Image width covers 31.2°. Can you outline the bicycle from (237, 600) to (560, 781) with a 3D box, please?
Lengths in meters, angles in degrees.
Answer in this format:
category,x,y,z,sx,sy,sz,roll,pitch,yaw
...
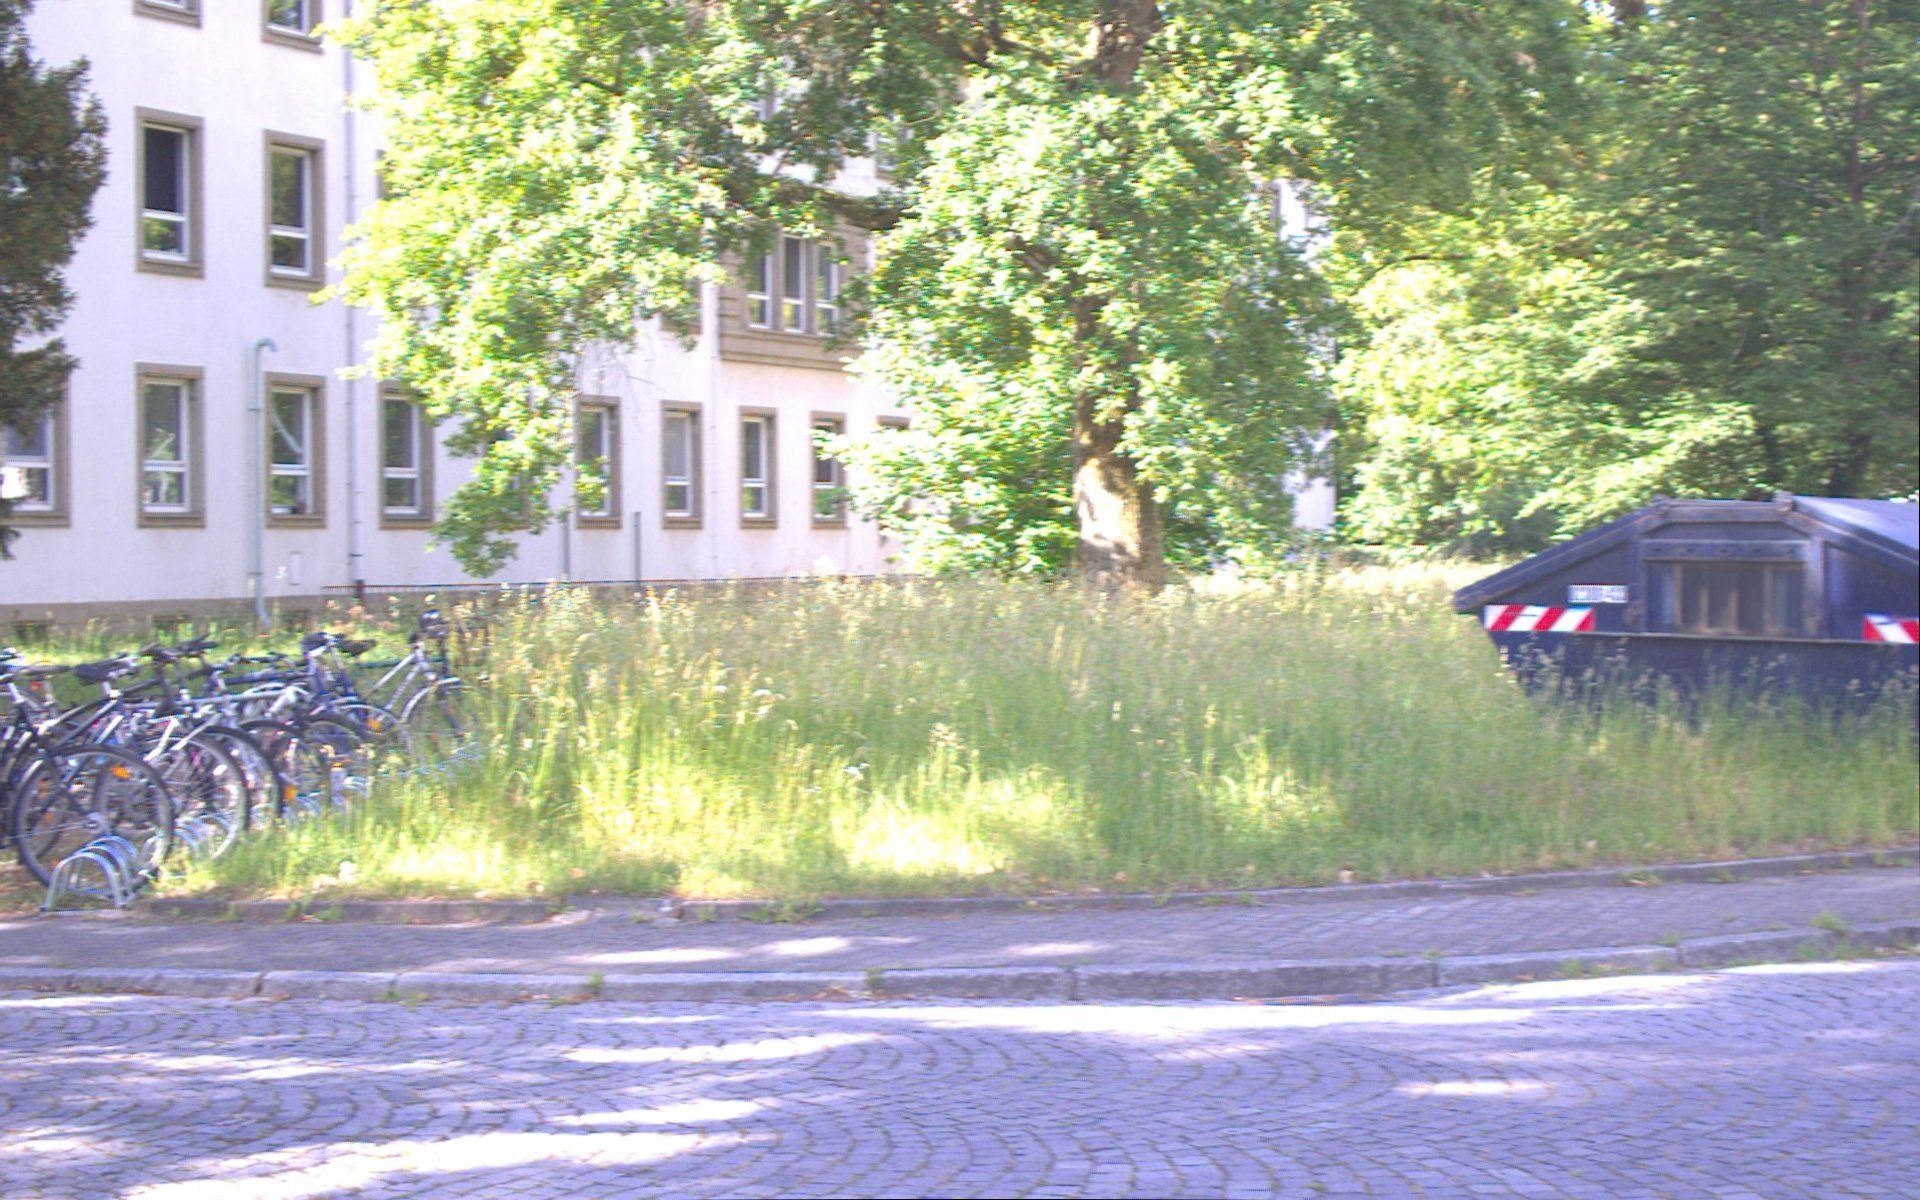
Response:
category,x,y,z,sx,sy,sz,roll,pitch,yaw
bicycle,-3.540,0.565,21.713,1.913,1.054,0.476,-2,1,4

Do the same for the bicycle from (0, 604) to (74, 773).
category,x,y,z,sx,sy,sz,roll,pitch,yaw
bicycle,-6.996,0.591,23.119,1.913,1.099,0.570,0,2,1

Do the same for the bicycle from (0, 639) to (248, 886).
category,x,y,z,sx,sy,sz,roll,pitch,yaw
bicycle,-4.260,0.748,15.643,1.913,1.054,0.476,-2,1,-4

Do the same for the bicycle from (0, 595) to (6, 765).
category,x,y,z,sx,sy,sz,roll,pitch,yaw
bicycle,-7.191,0.531,22.168,1.913,1.099,0.570,0,2,6

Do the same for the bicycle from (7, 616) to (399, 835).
category,x,y,z,sx,sy,sz,roll,pitch,yaw
bicycle,-3.970,0.654,18.085,1.913,1.054,0.476,-2,1,2

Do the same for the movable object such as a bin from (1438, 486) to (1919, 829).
category,x,y,z,sx,sy,sz,roll,pitch,yaw
movable object such as a bin,4.709,0.274,18.972,3.574,1.738,2.020,0,1,43

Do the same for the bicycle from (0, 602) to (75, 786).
category,x,y,z,sx,sy,sz,roll,pitch,yaw
bicycle,-6.519,0.574,21.293,1.913,1.099,0.570,0,2,6

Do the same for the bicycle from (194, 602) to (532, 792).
category,x,y,z,sx,sy,sz,roll,pitch,yaw
bicycle,-3.595,0.580,20.745,1.913,1.054,0.476,-2,1,4

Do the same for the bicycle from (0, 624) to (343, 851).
category,x,y,z,sx,sy,sz,roll,pitch,yaw
bicycle,-4.124,0.690,17.289,1.913,1.054,0.476,-2,1,2

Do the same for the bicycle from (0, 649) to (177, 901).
category,x,y,z,sx,sy,sz,roll,pitch,yaw
bicycle,-4.472,0.789,15.131,1.913,1.054,0.476,-2,1,-4

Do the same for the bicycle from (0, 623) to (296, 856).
category,x,y,z,sx,sy,sz,roll,pitch,yaw
bicycle,-4.256,0.684,16.730,1.913,1.054,0.476,-2,1,2

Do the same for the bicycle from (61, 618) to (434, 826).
category,x,y,z,sx,sy,sz,roll,pitch,yaw
bicycle,-3.919,0.668,18.955,1.913,1.054,0.476,-2,1,4

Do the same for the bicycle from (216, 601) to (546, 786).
category,x,y,z,sx,sy,sz,roll,pitch,yaw
bicycle,-3.571,0.573,21.246,1.913,1.054,0.476,-2,1,4
